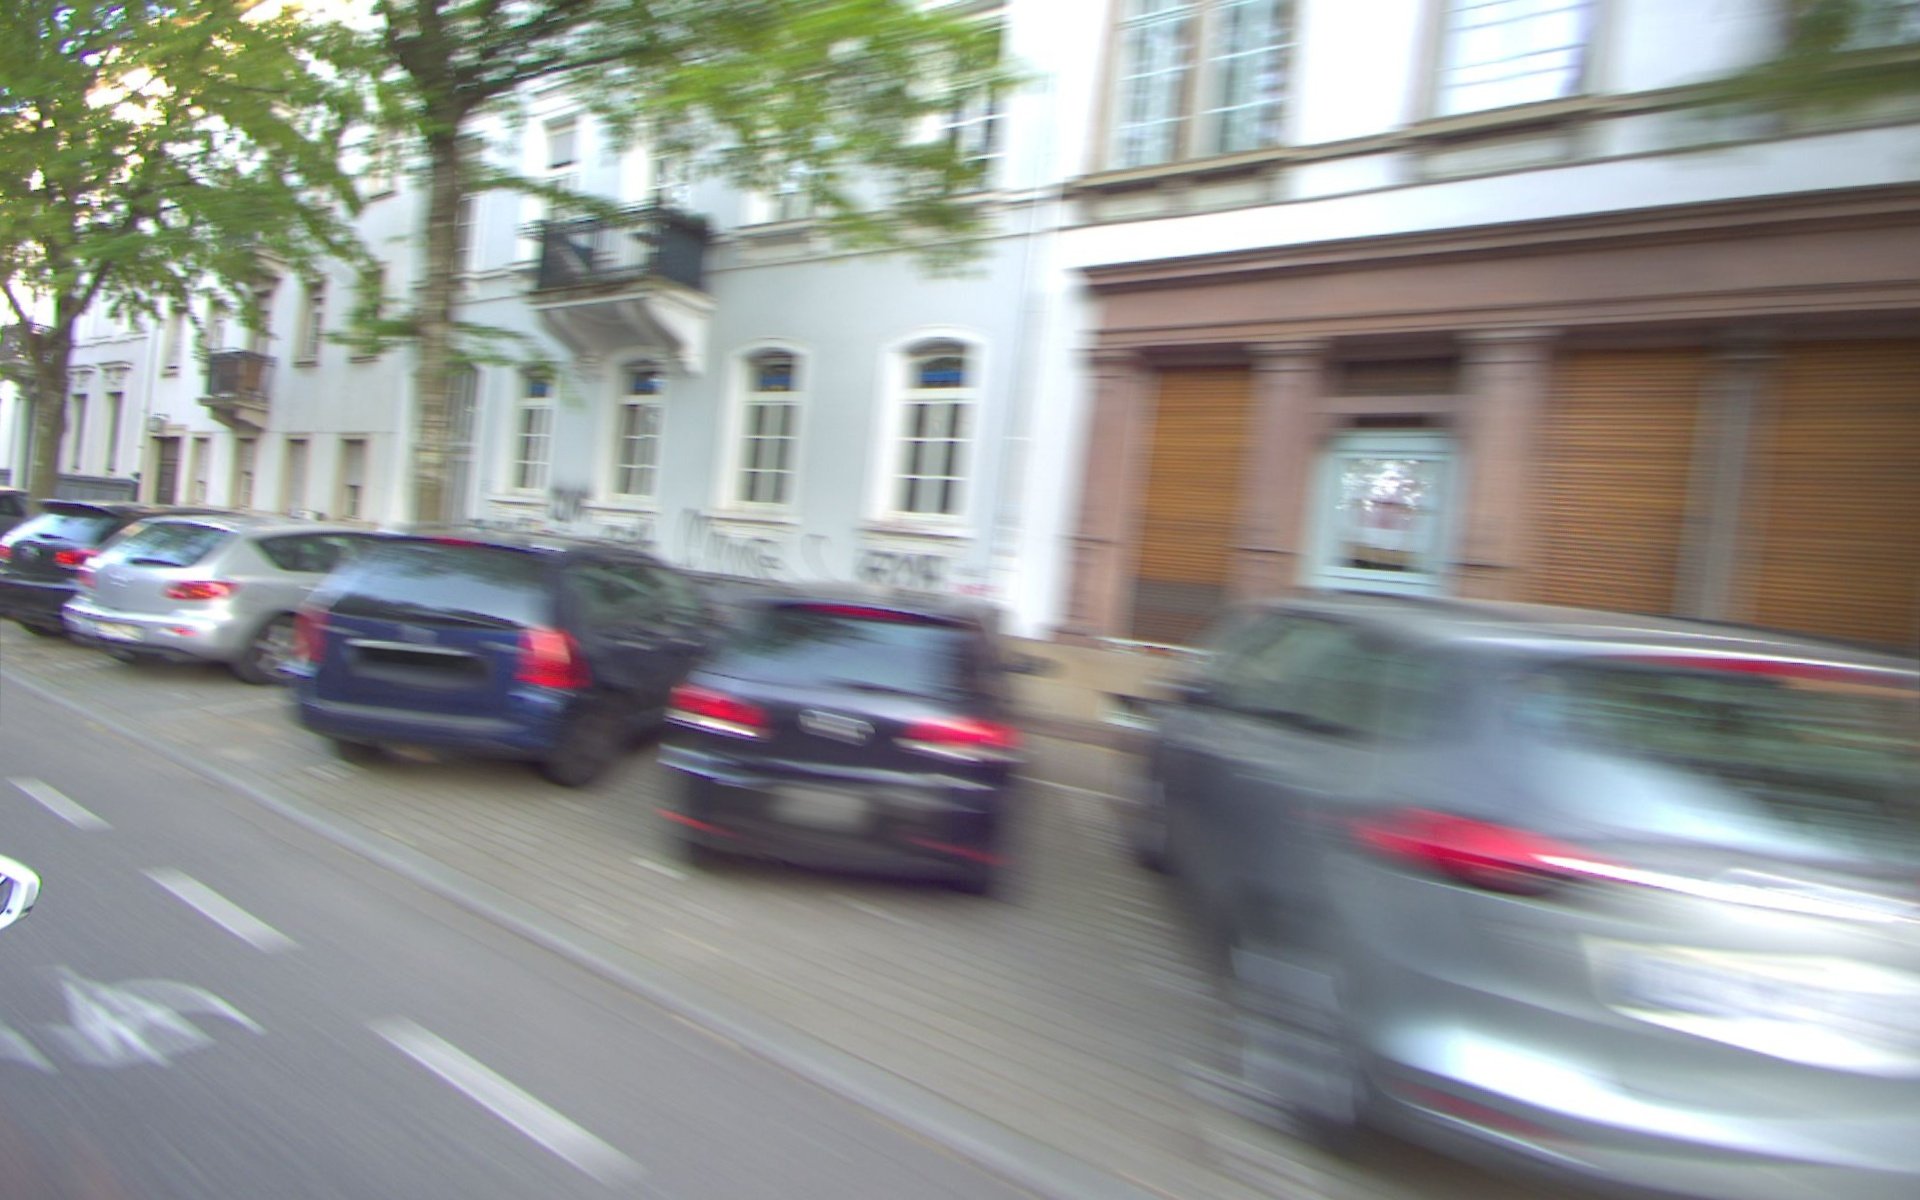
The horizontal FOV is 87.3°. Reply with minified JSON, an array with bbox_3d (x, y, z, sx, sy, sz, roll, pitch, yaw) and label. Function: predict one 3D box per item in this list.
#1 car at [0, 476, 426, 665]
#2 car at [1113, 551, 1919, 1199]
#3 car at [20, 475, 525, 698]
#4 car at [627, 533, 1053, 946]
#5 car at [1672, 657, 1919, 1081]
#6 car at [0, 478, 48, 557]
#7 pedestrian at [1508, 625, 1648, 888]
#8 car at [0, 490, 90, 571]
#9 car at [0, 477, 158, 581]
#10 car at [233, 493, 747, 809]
[{"bbox_3d":[-8.264,-0.337,11.318,1.805,1.625,3.952,6,2,11],"label":"car"},{"bbox_3d":[1.930,0.770,4.199,1.866,1.691,3.951,5,2,0],"label":"car"},{"bbox_3d":[-6.454,-0.150,10.069,1.805,1.625,3.952,6,2,12],"label":"car"},{"bbox_3d":[-0.443,0.494,6.277,1.714,1.626,3.949,5,4,2],"label":"car"},{"bbox_3d":[4.565,1.191,3.118,1.796,1.497,3.951,7,2,1],"label":"car"},{"bbox_3d":[-21.134,-1.824,20.155,1.805,1.625,3.953,6,2,8],"label":"car"},{"bbox_3d":[4.216,1.032,6.863,0.614,1.629,0.586,7,1,34],"label":"pedestrian"},{"bbox_3d":[-18.587,-1.385,18.676,1.629,1.463,3.649,5,1,-1],"label":"car"},{"bbox_3d":[-15.894,-1.217,16.710,1.806,1.625,3.951,5,2,2],"label":"car"},{"bbox_3d":[-3.046,0.227,7.553,1.805,1.625,3.951,4,2,2],"label":"car"}]
